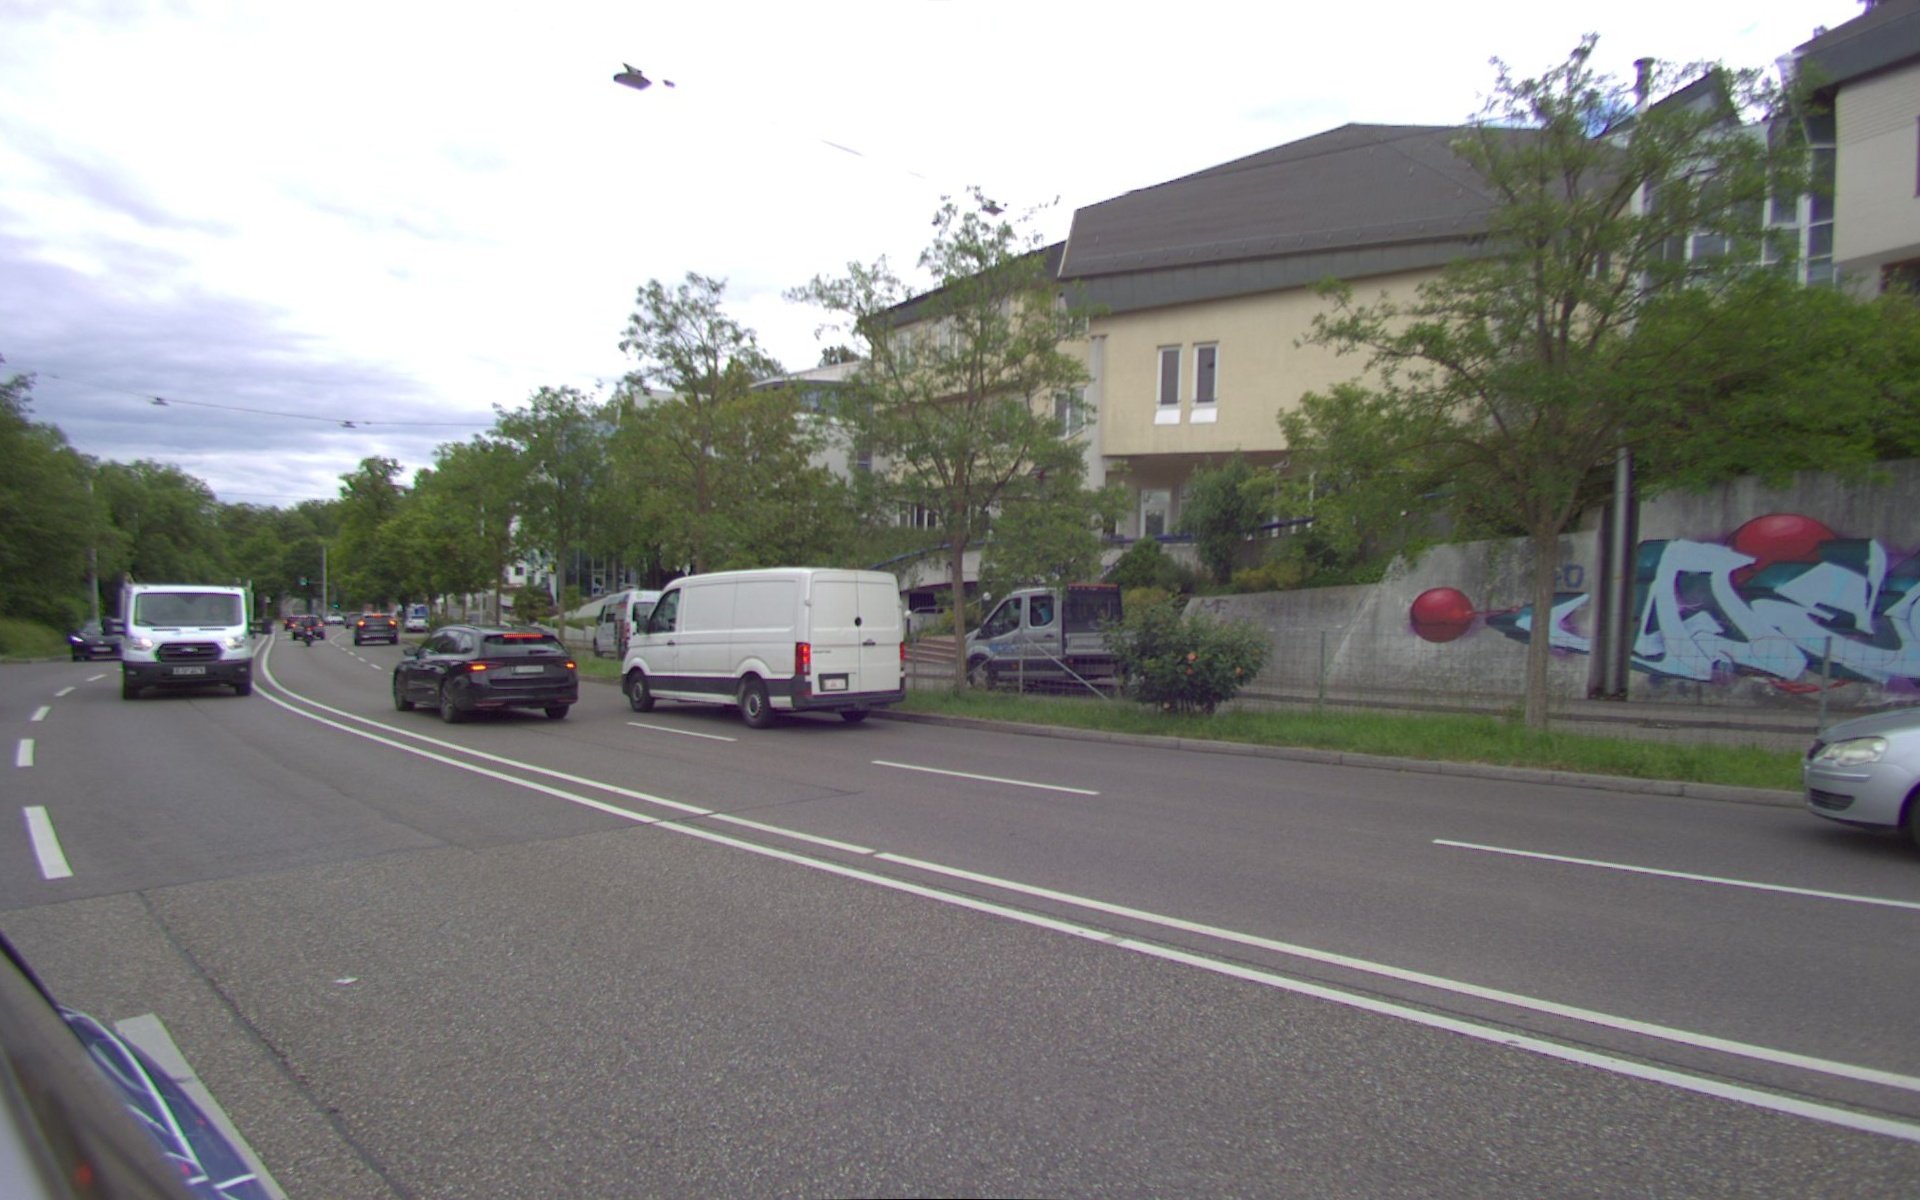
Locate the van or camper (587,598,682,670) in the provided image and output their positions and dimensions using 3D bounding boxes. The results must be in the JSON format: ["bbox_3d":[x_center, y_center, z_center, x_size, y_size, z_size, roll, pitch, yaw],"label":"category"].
[{"bbox_3d":[-12.255,1.236,37.825,1.966,2.492,5.726,1,-1,-33],"label":"van or camper"}]

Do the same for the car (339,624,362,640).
[{"bbox_3d":[-67.305,3.553,111.761,1.741,1.721,4.881,-1,-1,-36],"label":"car"}]

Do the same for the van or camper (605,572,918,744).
[{"bbox_3d":[-3.399,0.849,16.203,1.985,2.278,5.966,1,-2,-44],"label":"van or camper"}]

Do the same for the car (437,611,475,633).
[{"bbox_3d":[-36.448,1.592,73.116,1.651,1.439,4.428,3,-3,-36],"label":"car"}]

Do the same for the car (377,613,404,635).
[{"bbox_3d":[-69.106,2.959,122.805,1.967,2.545,6.548,-2,0,-36],"label":"car"}]

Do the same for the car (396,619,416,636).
[{"bbox_3d":[-60.638,2.945,110.771,1.781,1.764,4.263,-2,0,-30],"label":"car"}]

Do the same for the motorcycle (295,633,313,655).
[{"bbox_3d":[-33.443,2.249,51.578,0.477,1.064,2.271,1,-2,-41],"label":"motorcycle"}]

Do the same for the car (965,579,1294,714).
[{"bbox_3d":[3.157,0.851,20.227,6.328,2.290,2.242,-1,-2,44],"label":"car"}]

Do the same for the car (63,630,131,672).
[{"bbox_3d":[-31.898,1.848,37.479,1.707,1.421,4.008,-1,-1,-38],"label":"car"}]

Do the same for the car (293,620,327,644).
[{"bbox_3d":[-42.914,2.102,66.784,1.761,1.550,4.086,0,-2,-35],"label":"car"}]

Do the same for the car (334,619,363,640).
[{"bbox_3d":[-44.791,2.178,74.137,1.544,1.442,3.900,-1,-1,-35],"label":"car"}]

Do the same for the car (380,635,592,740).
[{"bbox_3d":[-7.565,1.266,15.931,1.715,1.425,4.433,2,-3,-43],"label":"car"}]

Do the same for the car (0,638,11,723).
[{"bbox_3d":[-15.317,1.241,14.656,1.793,1.357,4.009,2,-2,-36],"label":"car"}]

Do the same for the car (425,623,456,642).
[{"bbox_3d":[-39.734,2.458,77.350,1.650,1.439,4.100,1,-1,-34],"label":"car"}]

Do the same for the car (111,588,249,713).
[{"bbox_3d":[-15.916,0.975,20.865,1.967,2.190,6.283,0,-2,-36],"label":"car"}]

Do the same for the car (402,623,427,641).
[{"bbox_3d":[-47.018,2.701,87.200,1.645,1.515,4.250,1,-2,-32],"label":"car"}]

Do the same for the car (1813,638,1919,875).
[{"bbox_3d":[7.558,0.942,5.903,3.802,1.419,1.687,-2,-2,37],"label":"car"}]

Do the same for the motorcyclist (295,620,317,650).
[{"bbox_3d":[-33.229,1.770,51.418,0.751,1.496,0.962,4,-4,-40],"label":"motorcyclist"}]

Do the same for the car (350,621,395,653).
[{"bbox_3d":[-30.645,1.933,52.710,1.761,1.587,4.480,1,-2,-33],"label":"car"}]
